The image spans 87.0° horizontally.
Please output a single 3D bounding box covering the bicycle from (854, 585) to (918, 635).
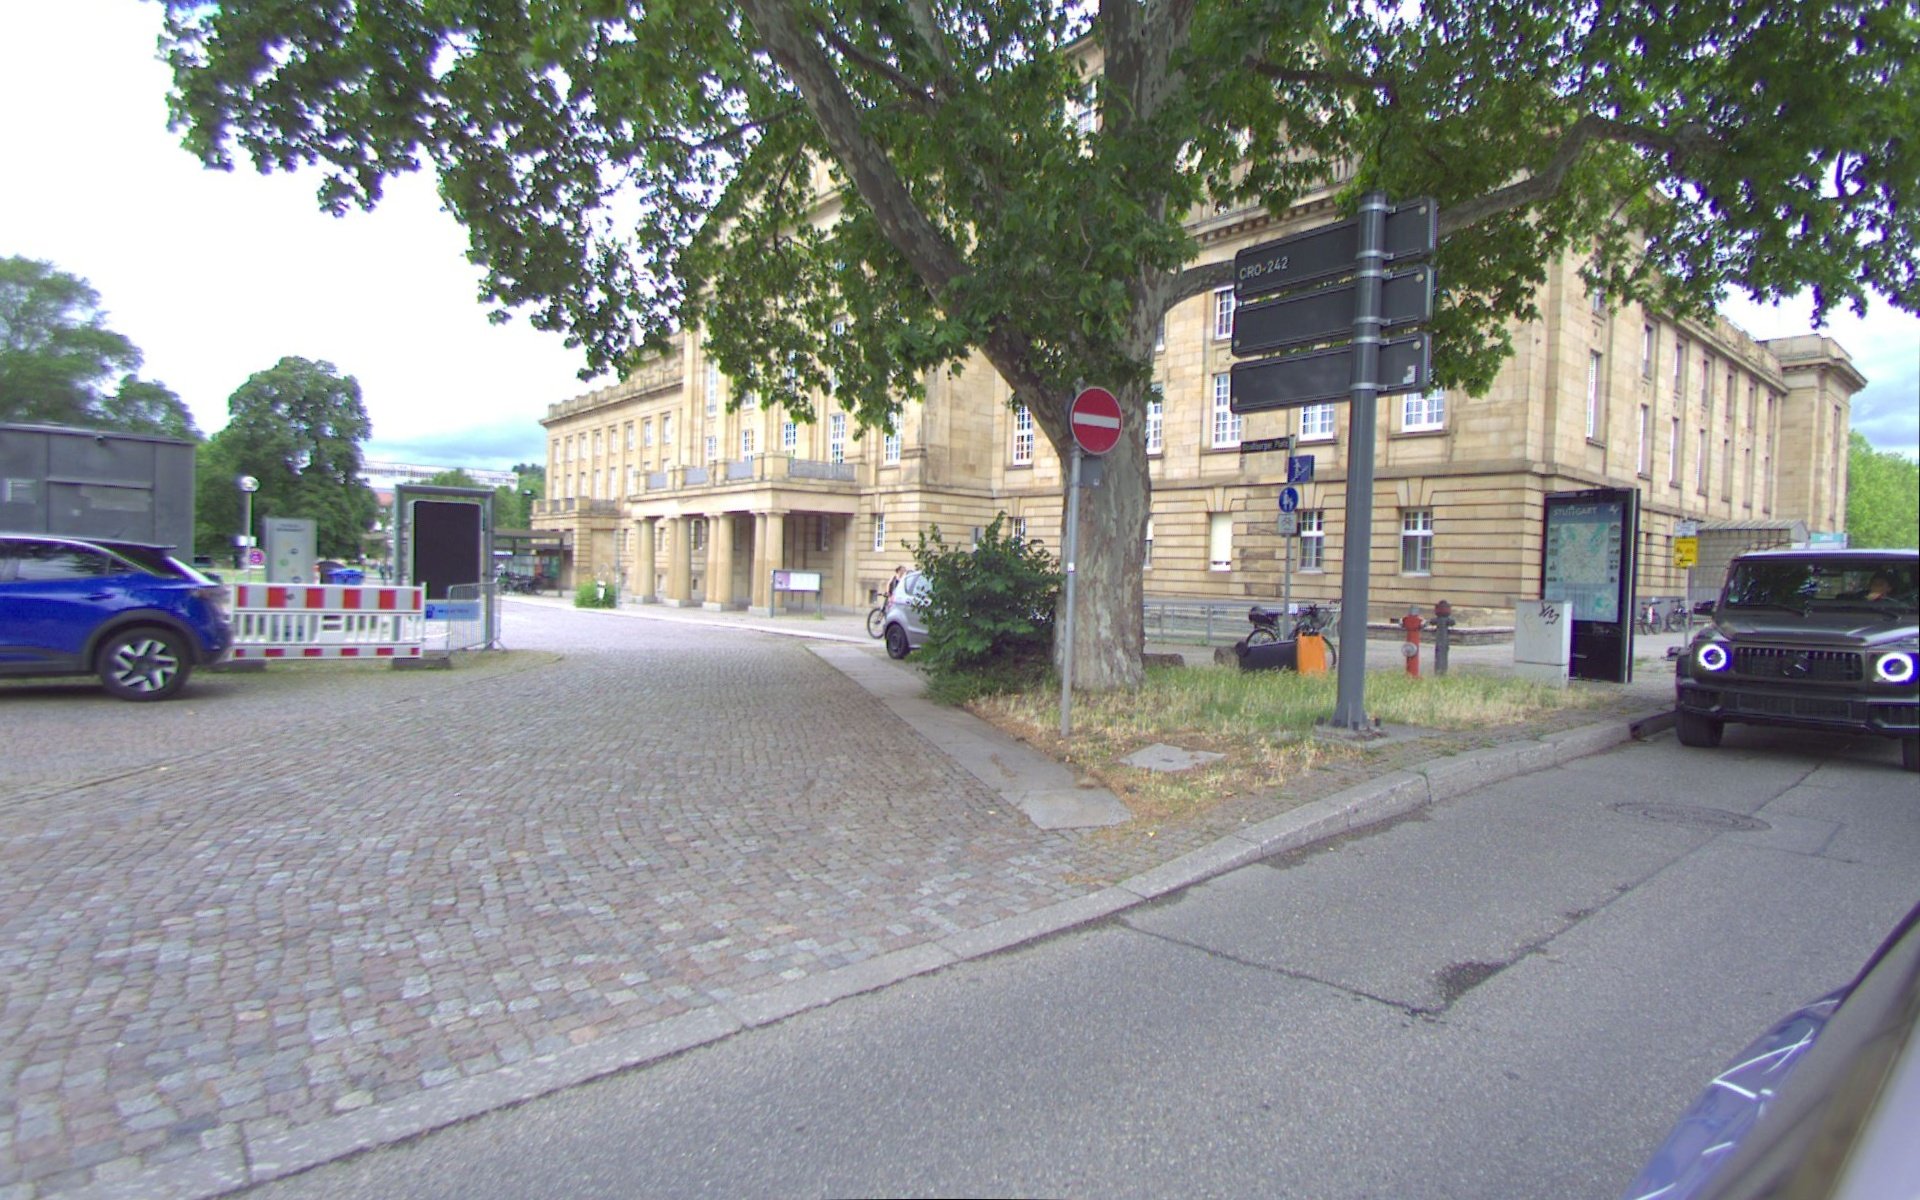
[{"bbox_3d":[-1.805,0.225,24.378,1.749,1.146,0.437,2,1,43],"label":"bicycle"}]

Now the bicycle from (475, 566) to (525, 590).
[{"bbox_3d":[-26.584,-1.289,58.550,2.533,1.362,0.726,-1,0,-41],"label":"bicycle"}]

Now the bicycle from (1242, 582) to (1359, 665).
[{"bbox_3d":[5.402,0.343,16.133,0.483,1.236,1.790,0,1,-37],"label":"bicycle"}]

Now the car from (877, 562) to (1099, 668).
[{"bbox_3d":[0.371,0.168,17.241,1.649,1.588,3.844,0,2,-40],"label":"car"}]

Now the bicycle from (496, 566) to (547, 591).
[{"bbox_3d":[-24.690,-1.187,56.992,2.533,1.362,0.726,-1,0,-41],"label":"bicycle"}]

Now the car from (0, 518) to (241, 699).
[{"bbox_3d":[-9.101,0.037,9.305,3.952,1.571,1.765,3,0,-38],"label":"car"}]

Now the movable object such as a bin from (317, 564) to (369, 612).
[{"bbox_3d":[-17.756,-0.357,29.102,1.132,1.320,1.412,0,2,-38],"label":"movable object such as a bin"}]

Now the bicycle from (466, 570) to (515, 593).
[{"bbox_3d":[-27.749,-1.101,59.822,2.533,1.362,0.726,-1,0,-41],"label":"bicycle"}]

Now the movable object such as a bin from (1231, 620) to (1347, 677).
[{"bbox_3d":[4.347,0.622,13.435,0.714,0.660,1.304,-1,1,-31],"label":"movable object such as a bin"}]

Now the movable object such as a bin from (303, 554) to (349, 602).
[{"bbox_3d":[-20.563,-0.723,32.800,1.132,1.515,1.412,0,2,-38],"label":"movable object such as a bin"}]

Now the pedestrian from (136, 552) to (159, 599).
[{"bbox_3d":[-31.690,-0.945,39.460,0.494,1.828,0.543,-1,0,23],"label":"pedestrian"}]

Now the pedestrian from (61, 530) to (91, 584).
[{"bbox_3d":[-34.192,-1.664,39.168,0.618,2.039,0.807,0,0,-20],"label":"pedestrian"}]

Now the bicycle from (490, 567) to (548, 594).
[{"bbox_3d":[-24.820,-1.087,57.009,2.852,1.443,0.959,-1,0,-45],"label":"bicycle"}]

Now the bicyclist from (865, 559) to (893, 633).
[{"bbox_3d":[-1.956,-0.100,24.358,0.436,1.770,0.468,2,1,42],"label":"bicyclist"}]

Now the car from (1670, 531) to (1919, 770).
[{"bbox_3d":[8.984,0.383,10.215,4.322,1.949,1.951,0,2,-41],"label":"car"}]

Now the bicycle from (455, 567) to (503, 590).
[{"bbox_3d":[-29.147,-1.284,61.333,2.533,1.362,0.726,-1,0,-41],"label":"bicycle"}]

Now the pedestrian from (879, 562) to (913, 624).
[{"bbox_3d":[-1.842,-0.212,29.095,0.692,1.743,0.680,0,1,-42],"label":"pedestrian"}]

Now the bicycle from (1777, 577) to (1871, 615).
[{"bbox_3d":[22.276,-0.109,26.128,0.601,0.928,1.738,0,2,-22],"label":"bicycle"}]

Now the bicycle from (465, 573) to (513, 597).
[{"bbox_3d":[-28.241,-0.897,60.685,2.533,1.362,0.726,-1,0,-41],"label":"bicycle"}]

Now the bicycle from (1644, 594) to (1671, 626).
[{"bbox_3d":[22.374,0.307,32.446,1.929,1.010,0.240,-1,2,-41],"label":"bicycle"}]

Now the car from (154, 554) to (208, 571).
[{"bbox_3d":[-87.725,-4.224,114.077,4.822,1.760,2.077,-1,0,-37],"label":"car"}]

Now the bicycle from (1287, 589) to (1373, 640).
[{"bbox_3d":[8.926,0.328,24.475,0.382,1.139,2.015,0,2,-40],"label":"bicycle"}]
